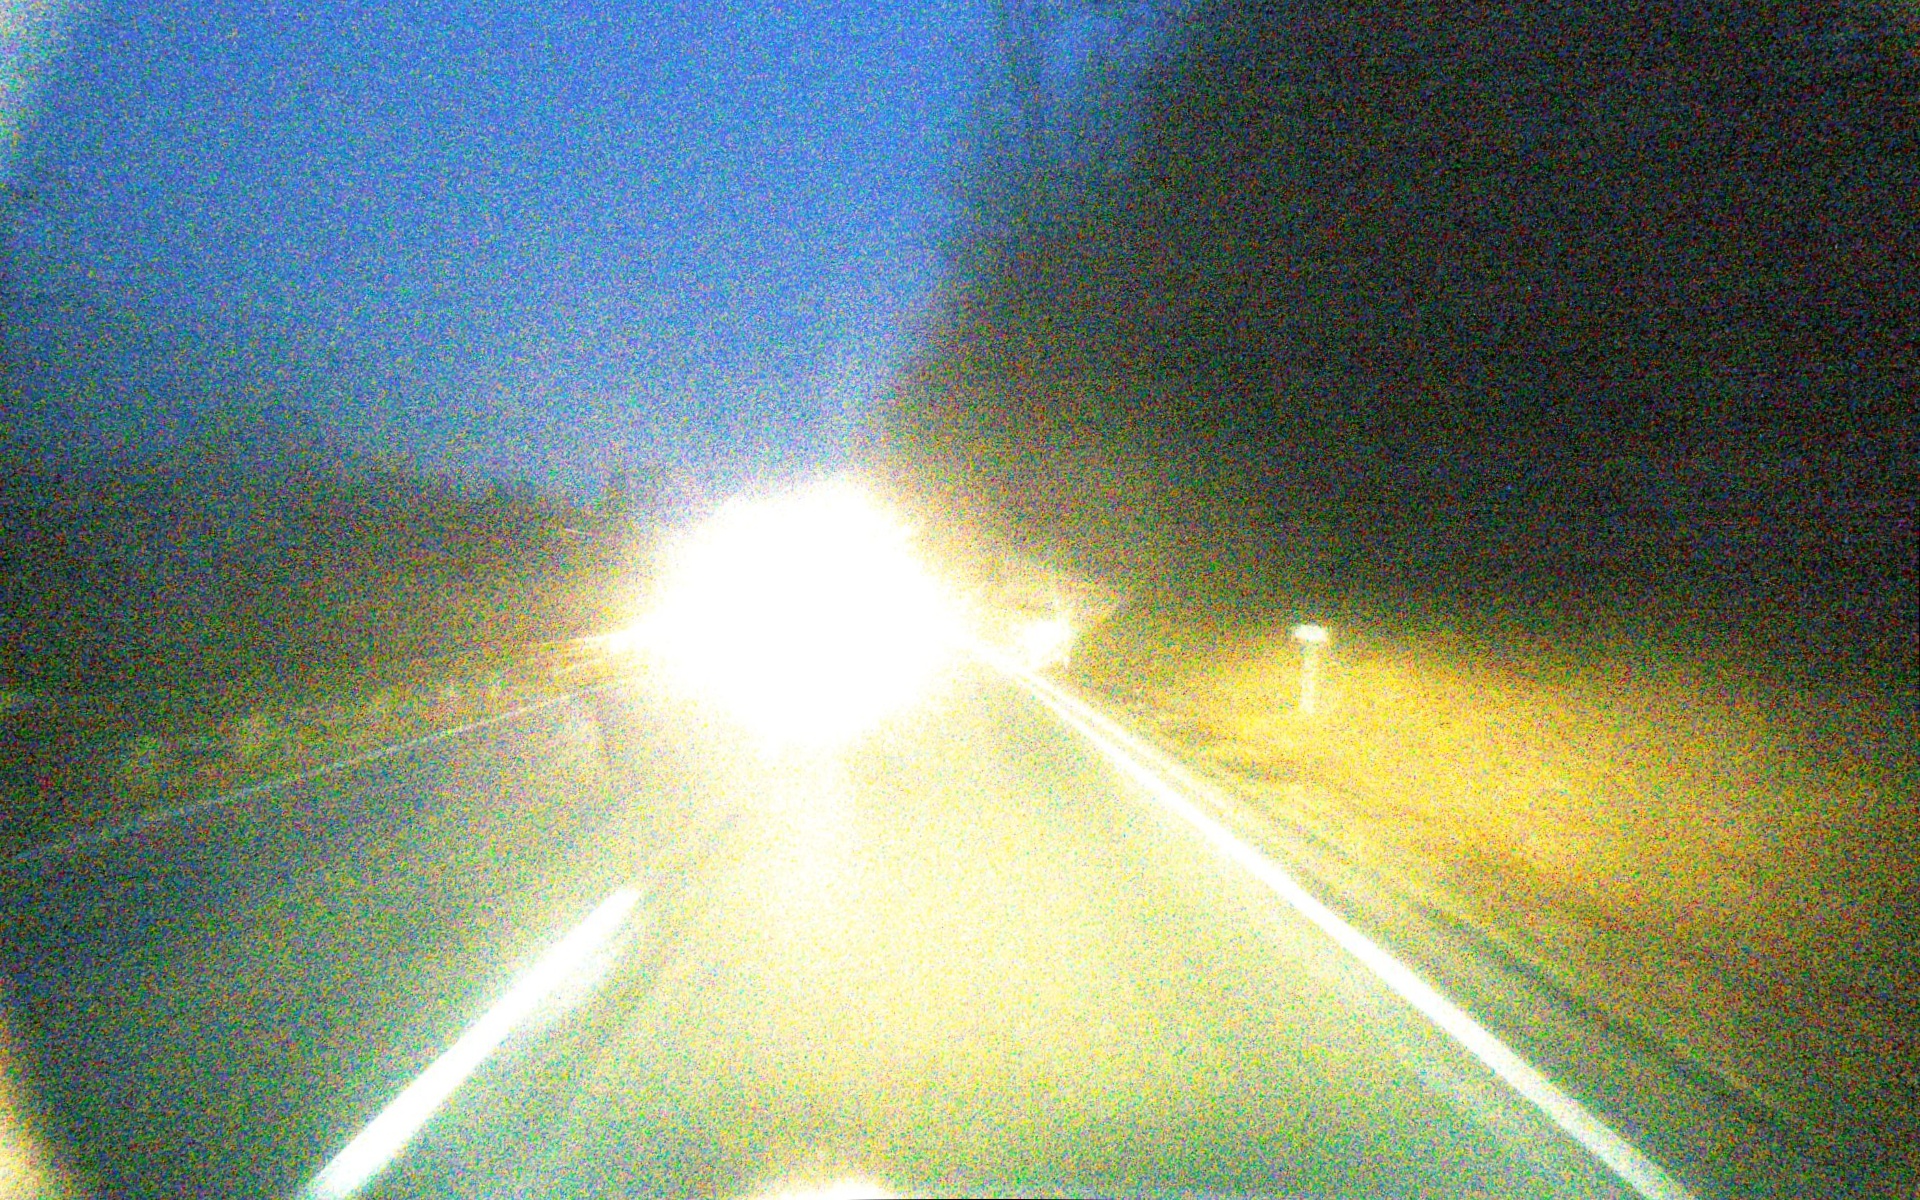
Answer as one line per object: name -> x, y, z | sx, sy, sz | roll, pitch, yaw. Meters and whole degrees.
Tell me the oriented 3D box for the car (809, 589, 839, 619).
car -> -8.260, 0.249, 100.261 | 1.737, 1.704, 4.050 | 2, 0, -6
